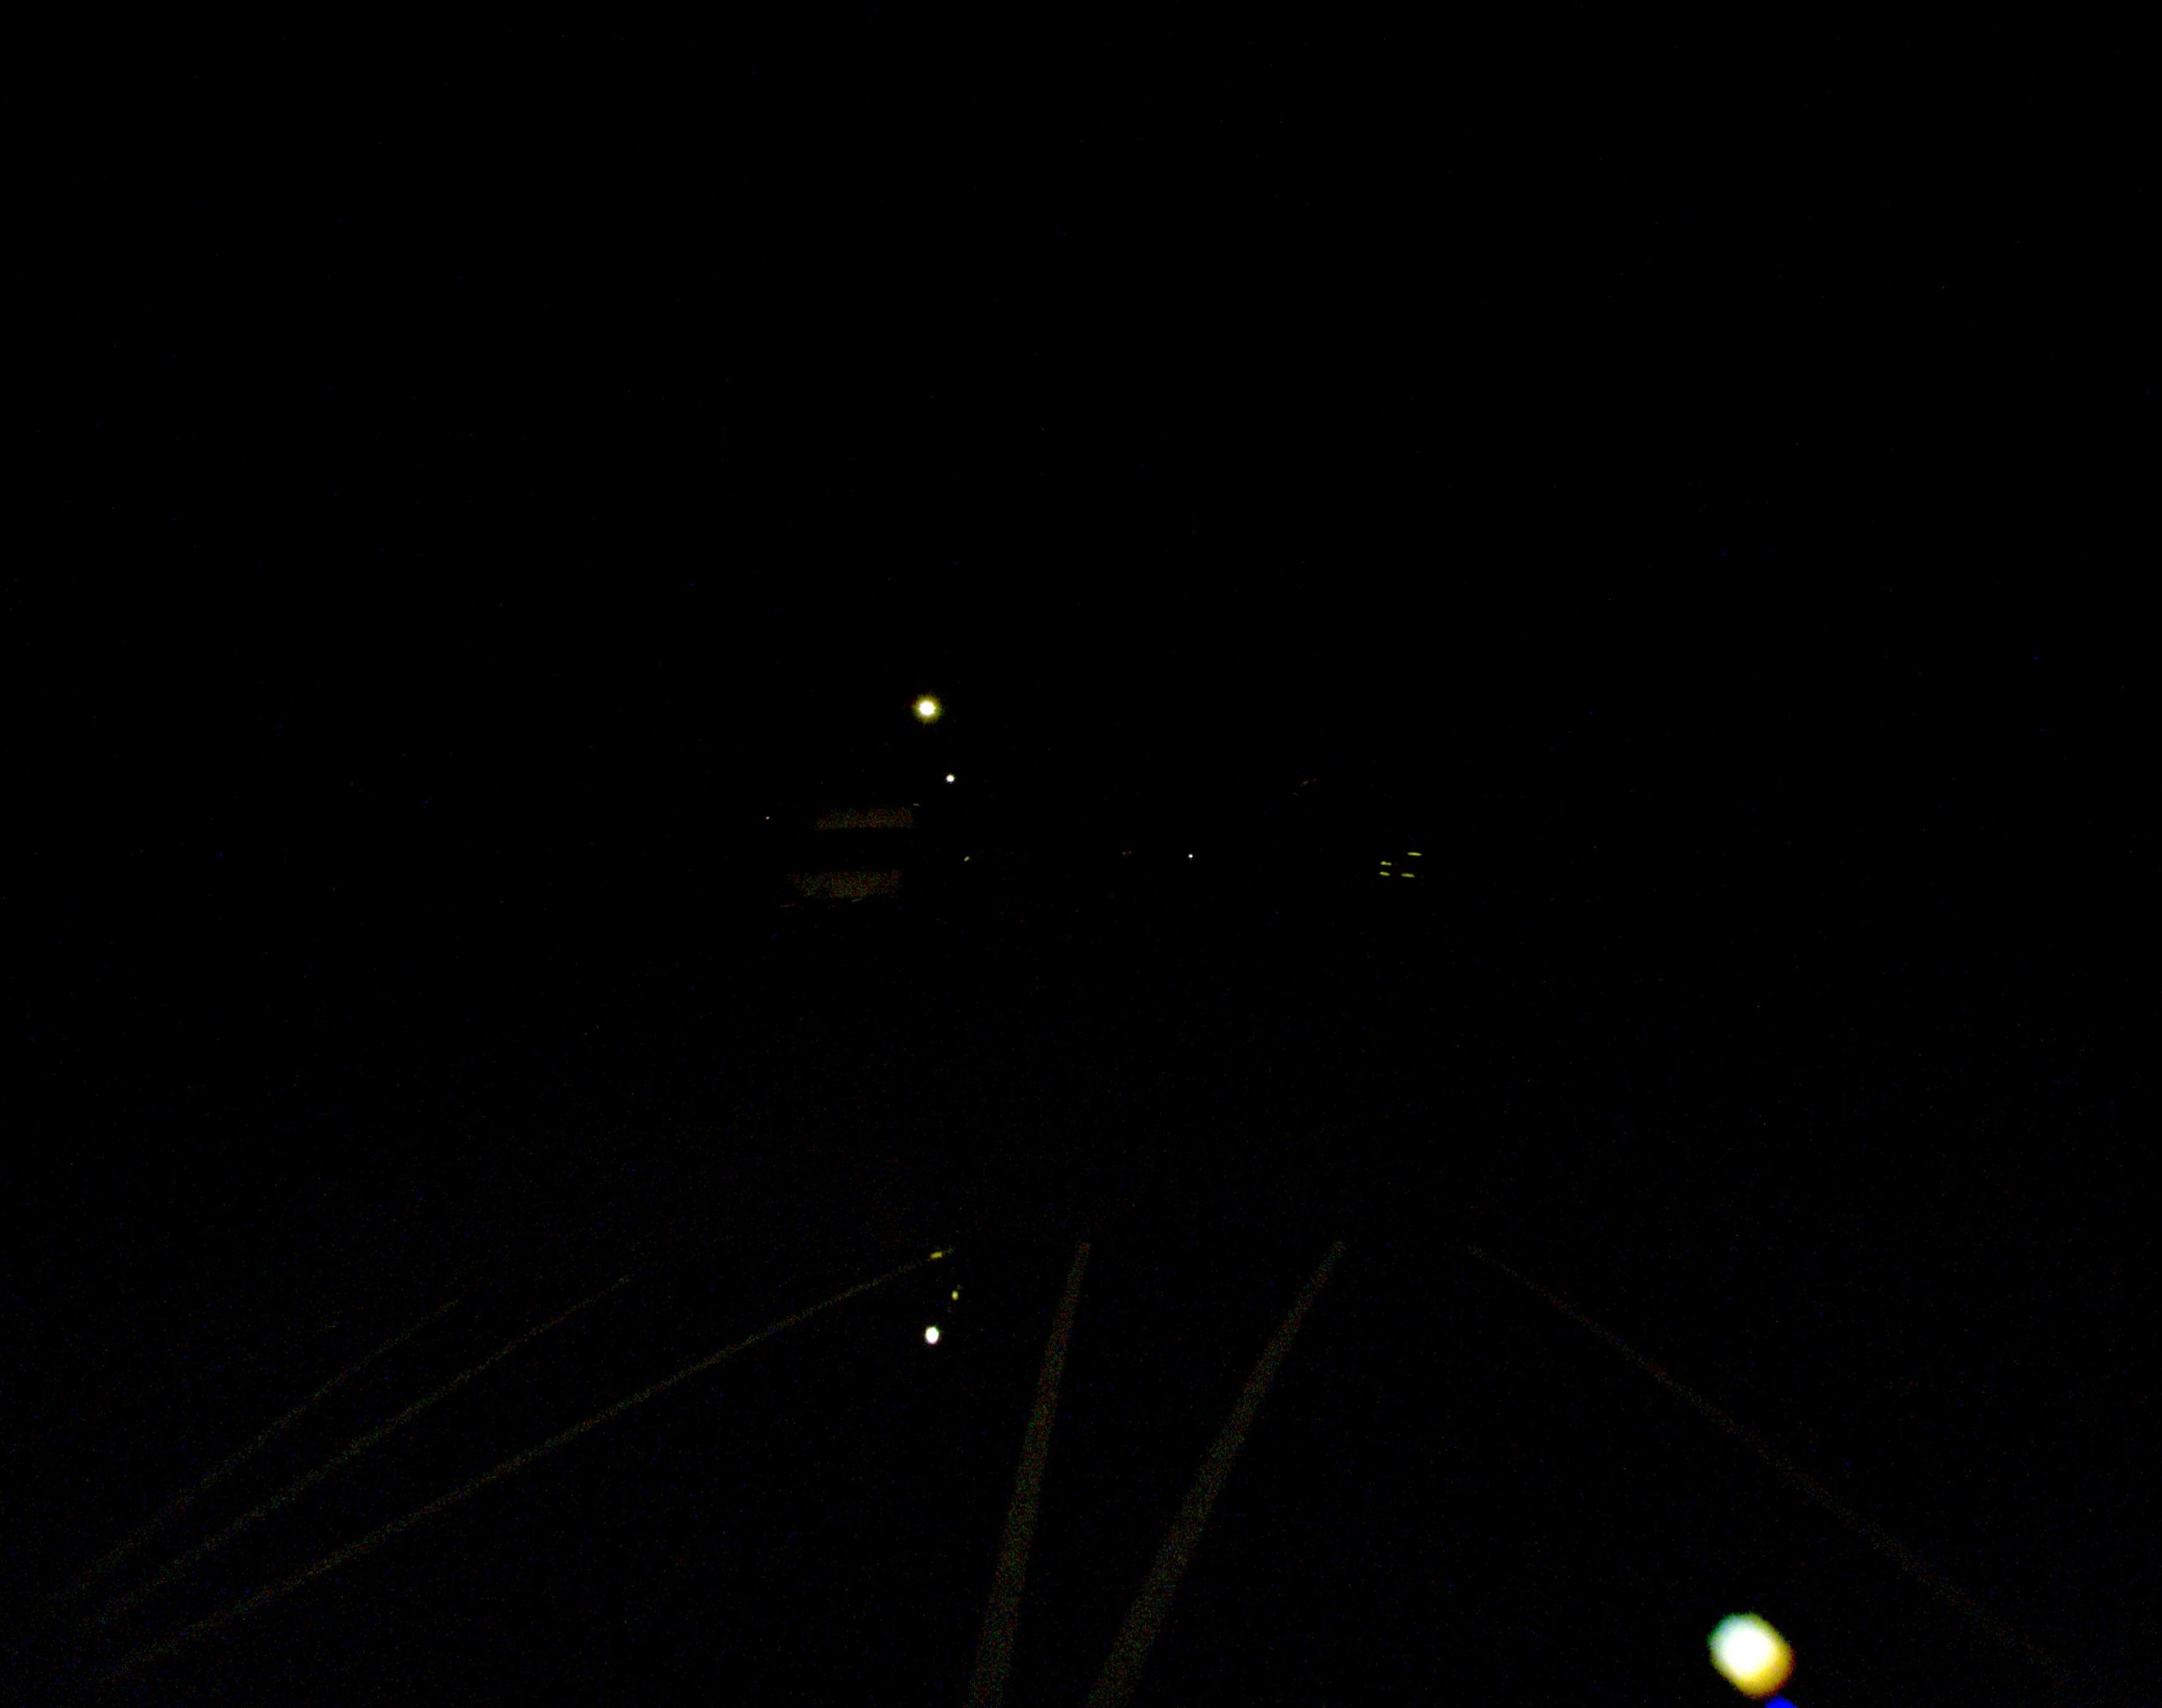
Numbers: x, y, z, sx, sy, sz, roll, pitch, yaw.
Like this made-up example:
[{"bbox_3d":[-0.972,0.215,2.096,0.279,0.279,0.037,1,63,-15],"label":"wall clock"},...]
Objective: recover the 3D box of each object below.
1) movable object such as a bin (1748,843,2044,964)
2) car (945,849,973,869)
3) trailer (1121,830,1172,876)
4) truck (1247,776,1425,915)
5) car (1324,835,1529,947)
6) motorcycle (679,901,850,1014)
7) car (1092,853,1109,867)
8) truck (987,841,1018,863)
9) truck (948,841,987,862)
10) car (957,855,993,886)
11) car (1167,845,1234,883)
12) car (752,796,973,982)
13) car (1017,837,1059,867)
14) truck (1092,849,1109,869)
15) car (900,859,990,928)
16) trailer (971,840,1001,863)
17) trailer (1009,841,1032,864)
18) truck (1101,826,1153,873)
[{"bbox_3d":[10.756,0.623,10.183,2.341,1.486,1.416,-1,1,7],"label":"movable object such as a bin"},{"bbox_3d":[-12.725,0.515,78.912,2.001,2.002,5.346,-3,1,-18],"label":"car"},{"bbox_3d":[4.171,-0.082,49.350,2.212,2.779,4.612,-1,1,-9],"label":"trailer"},{"bbox_3d":[6.859,-0.213,21.689,2.550,3.261,7.311,-1,0,-1],"label":"truck"},{"bbox_3d":[6.415,0.593,14.828,1.834,1.806,4.838,0,0,0],"label":"car"},{"bbox_3d":[-3.893,1.198,9.273,2.179,1.177,0.770,-2,1,33],"label":"motorcycle"},{"bbox_3d":[2.335,0.734,92.770,1.862,1.630,3.999,0,0,-1],"label":"car"},{"bbox_3d":[-10.201,-0.250,98.523,2.002,2.768,7.230,-1,0,-22],"label":"truck"},{"bbox_3d":[-17.524,-0.356,116.867,2.756,3.047,9.315,-1,1,-29],"label":"truck"},{"bbox_3d":[-5.668,0.851,40.359,1.716,1.499,3.996,-2,1,-10],"label":"car"},{"bbox_3d":[5.880,0.451,37.986,2.000,1.761,4.688,-1,0,-9],"label":"car"},{"bbox_3d":[-3.461,0.467,13.571,2.025,2.512,6.051,-2,0,1],"label":"car"},{"bbox_3d":[-4.915,-0.252,85.390,2.392,3.224,7.218,-1,1,-22],"label":"car"},{"bbox_3d":[2.544,0.593,101.981,2.138,2.598,7.099,0,0,0],"label":"truck"},{"bbox_3d":[-3.550,0.955,20.579,1.715,1.499,4.639,-4,1,-3],"label":"car"},{"bbox_3d":[-13.413,-0.331,106.636,2.493,3.055,7.940,-1,0,-20],"label":"trailer"},{"bbox_3d":[-7.398,-0.171,92.302,2.005,2.749,3.994,1,0,-17],"label":"trailer"},{"bbox_3d":[3.258,-0.318,55.990,2.381,3.224,7.226,-1,0,-8],"label":"truck"}]
